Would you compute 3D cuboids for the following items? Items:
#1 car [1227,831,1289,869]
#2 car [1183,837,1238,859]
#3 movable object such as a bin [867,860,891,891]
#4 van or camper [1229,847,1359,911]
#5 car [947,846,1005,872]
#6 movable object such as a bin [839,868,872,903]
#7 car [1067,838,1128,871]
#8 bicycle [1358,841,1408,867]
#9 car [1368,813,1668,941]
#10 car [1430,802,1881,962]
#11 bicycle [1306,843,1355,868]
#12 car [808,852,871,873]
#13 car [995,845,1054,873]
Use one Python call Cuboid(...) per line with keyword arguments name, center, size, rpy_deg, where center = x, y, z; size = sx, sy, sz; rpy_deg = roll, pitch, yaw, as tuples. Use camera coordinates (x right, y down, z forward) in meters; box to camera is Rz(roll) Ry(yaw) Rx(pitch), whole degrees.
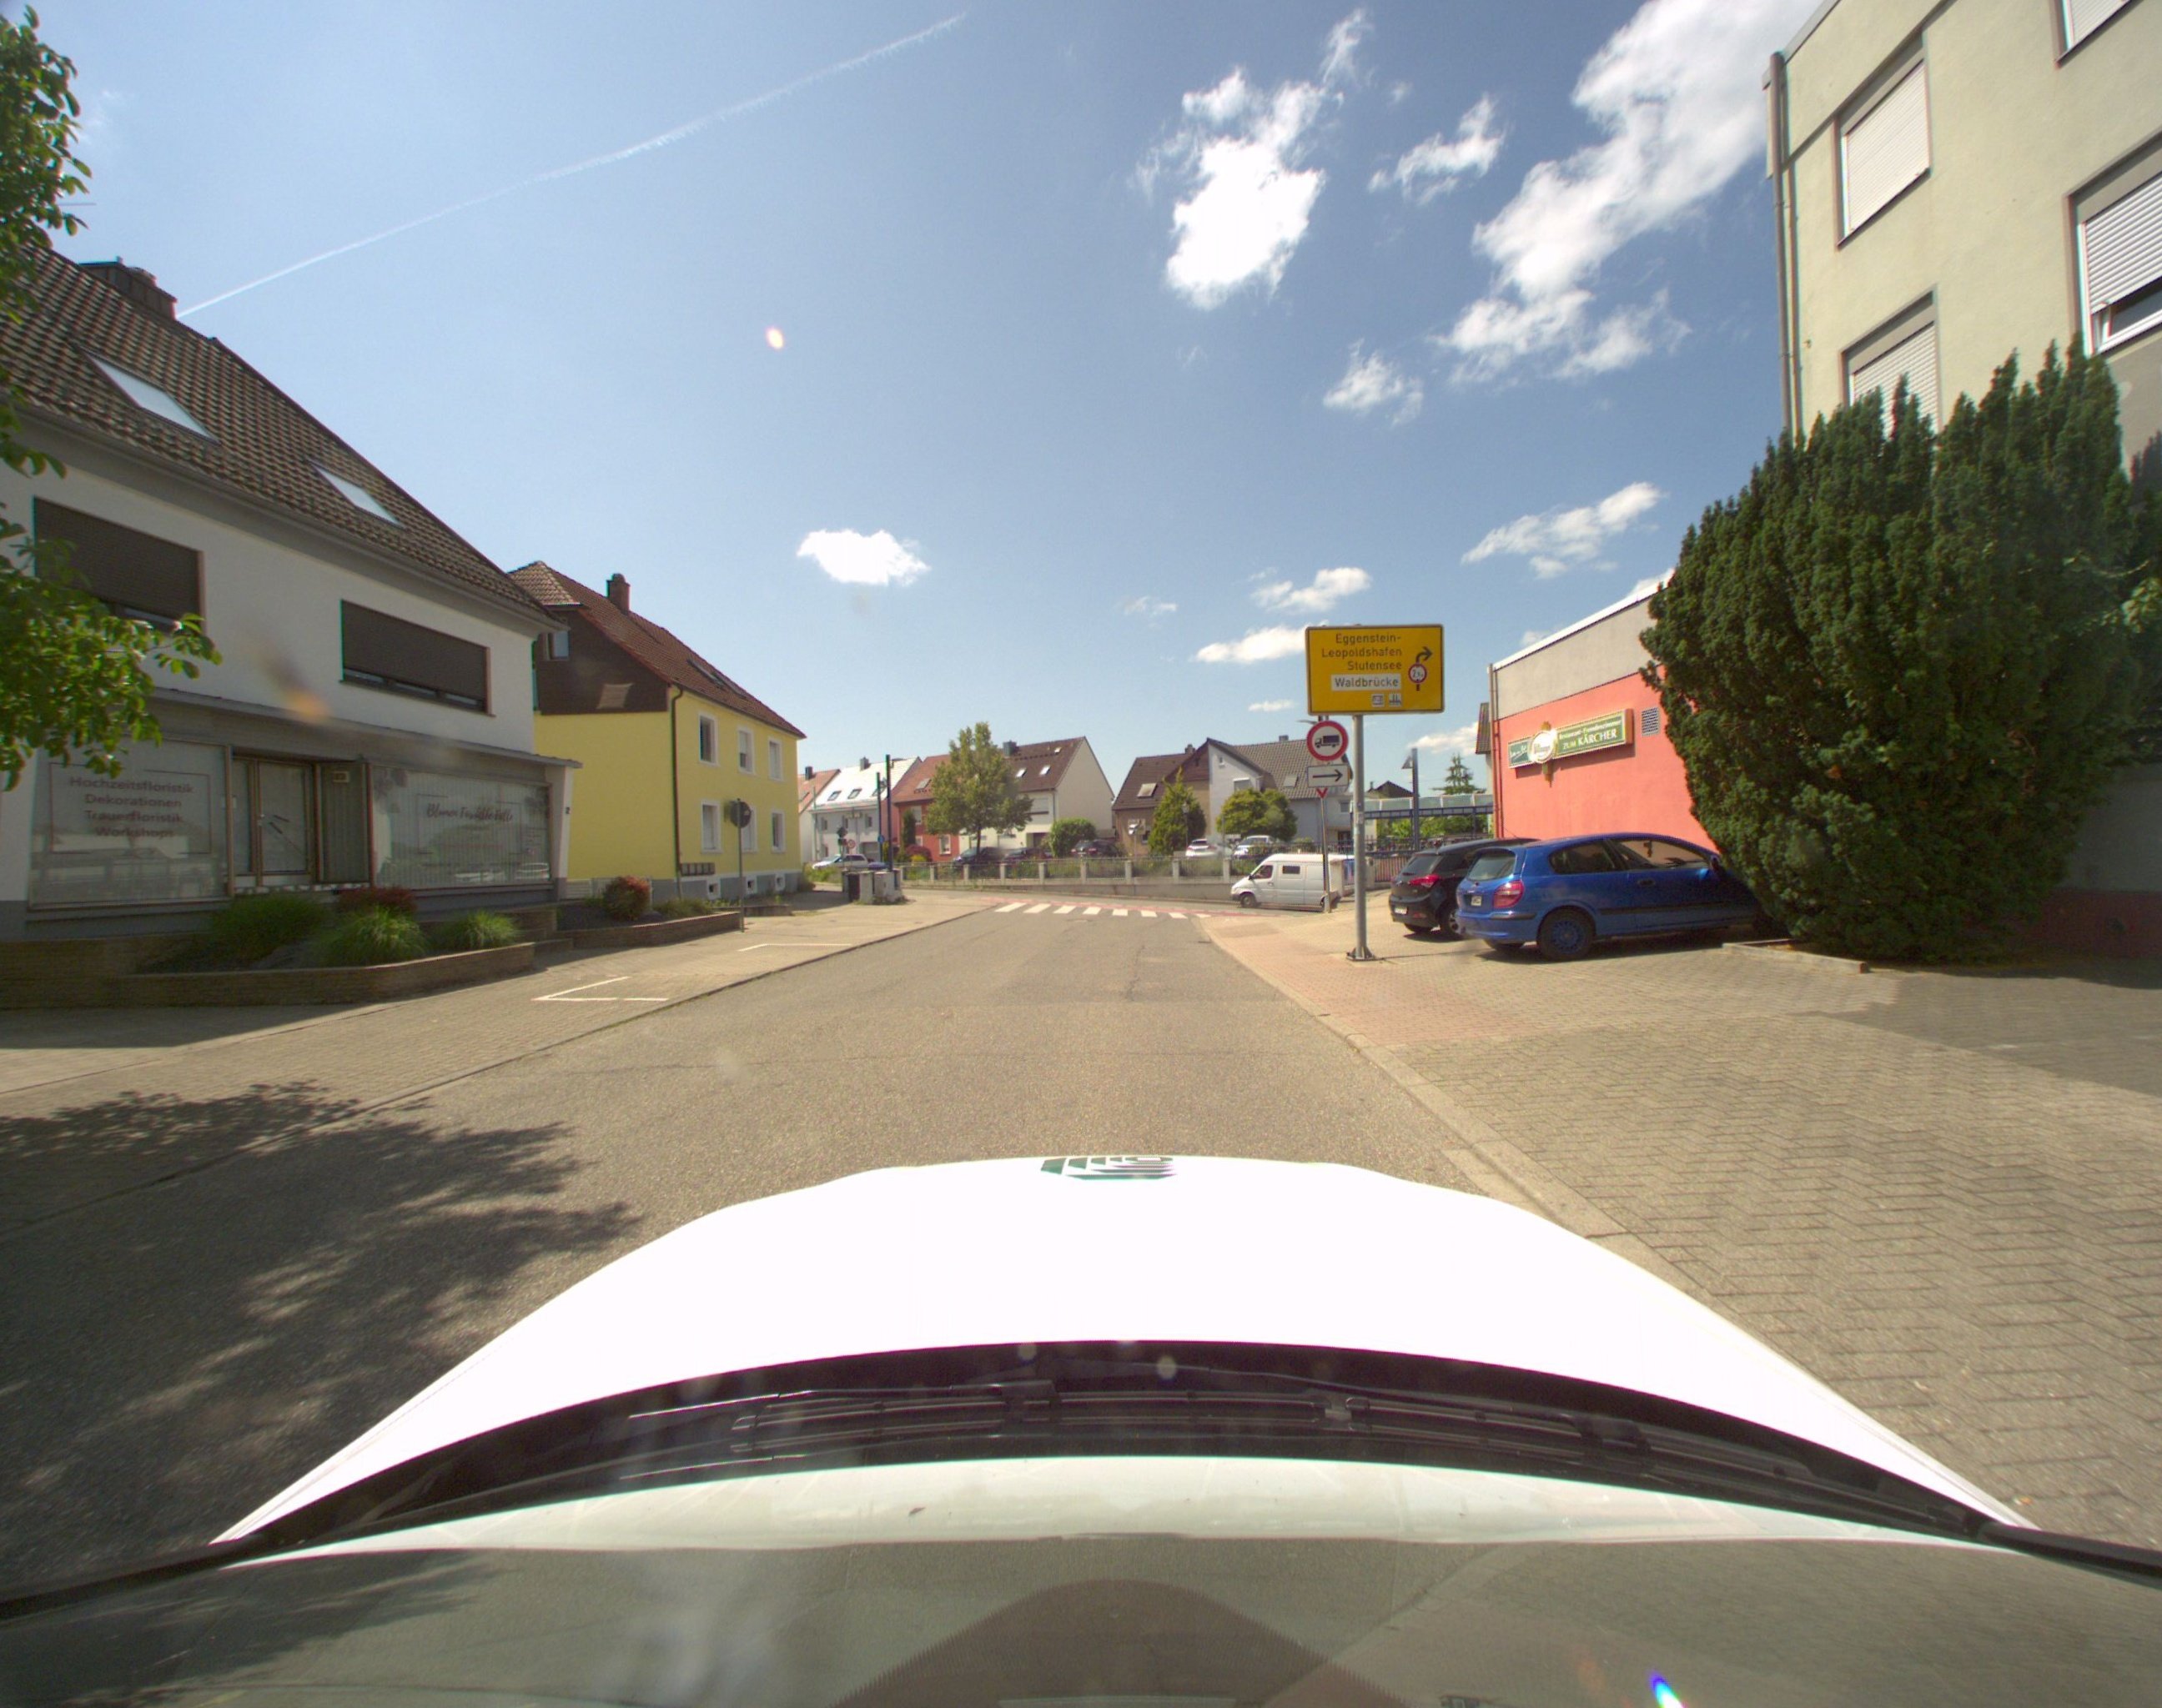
Cuboid(name="car", center=(9.307, -0.167, 42.512), size=(1.975, 1.797, 4.222), rpy_deg=(2, 0, 28))
Cuboid(name="car", center=(6.988, -0.303, 43.741), size=(1.808, 1.020, 3.480), rpy_deg=(2, 0, 28))
Cuboid(name="movable object such as a bin", center=(-8.193, 0.879, 33.060), size=(0.840, 1.213, 1.272), rpy_deg=(-1, 0, -10))
Cuboid(name="van or camper", center=(9.459, 1.087, 36.142), size=(5.329, 2.630, 2.015), rpy_deg=(1, -2, 22))
Cuboid(name="car", center=(-6.632, 0.337, 51.698), size=(1.850, 1.586, 3.631), rpy_deg=(2, 0, 28))
Cuboid(name="movable object such as a bin", center=(-8.227, 1.131, 29.690), size=(0.881, 1.225, 0.903), rpy_deg=(-1, 0, 4))
Cuboid(name="car", center=(0.994, 0.065, 47.469), size=(1.850, 1.797, 4.024), rpy_deg=(2, 0, 28))
Cuboid(name="bicycle", center=(13.678, 0.021, 36.905), size=(2.096, 1.126, 0.394), rpy_deg=(-1, 0, 22))
Cuboid(name="car", center=(7.094, 0.378, 13.541), size=(3.883, 1.490, 1.809), rpy_deg=(-7, -2, 0))
Cuboid(name="car", center=(6.990, 0.358, 10.275), size=(4.307, 1.439, 1.780), rpy_deg=(-6, -3, 1))
Cuboid(name="bicycle", center=(11.556, 0.071, 37.760), size=(2.096, 1.126, 0.335), rpy_deg=(-1, 0, 22))
Cuboid(name="car", center=(-18.056, 0.652, 61.067), size=(1.725, 1.488, 4.283), rpy_deg=(2, 0, 35))
Cuboid(name="car", center=(-3.401, 0.330, 49.540), size=(1.850, 1.586, 3.631), rpy_deg=(2, 0, 28))
